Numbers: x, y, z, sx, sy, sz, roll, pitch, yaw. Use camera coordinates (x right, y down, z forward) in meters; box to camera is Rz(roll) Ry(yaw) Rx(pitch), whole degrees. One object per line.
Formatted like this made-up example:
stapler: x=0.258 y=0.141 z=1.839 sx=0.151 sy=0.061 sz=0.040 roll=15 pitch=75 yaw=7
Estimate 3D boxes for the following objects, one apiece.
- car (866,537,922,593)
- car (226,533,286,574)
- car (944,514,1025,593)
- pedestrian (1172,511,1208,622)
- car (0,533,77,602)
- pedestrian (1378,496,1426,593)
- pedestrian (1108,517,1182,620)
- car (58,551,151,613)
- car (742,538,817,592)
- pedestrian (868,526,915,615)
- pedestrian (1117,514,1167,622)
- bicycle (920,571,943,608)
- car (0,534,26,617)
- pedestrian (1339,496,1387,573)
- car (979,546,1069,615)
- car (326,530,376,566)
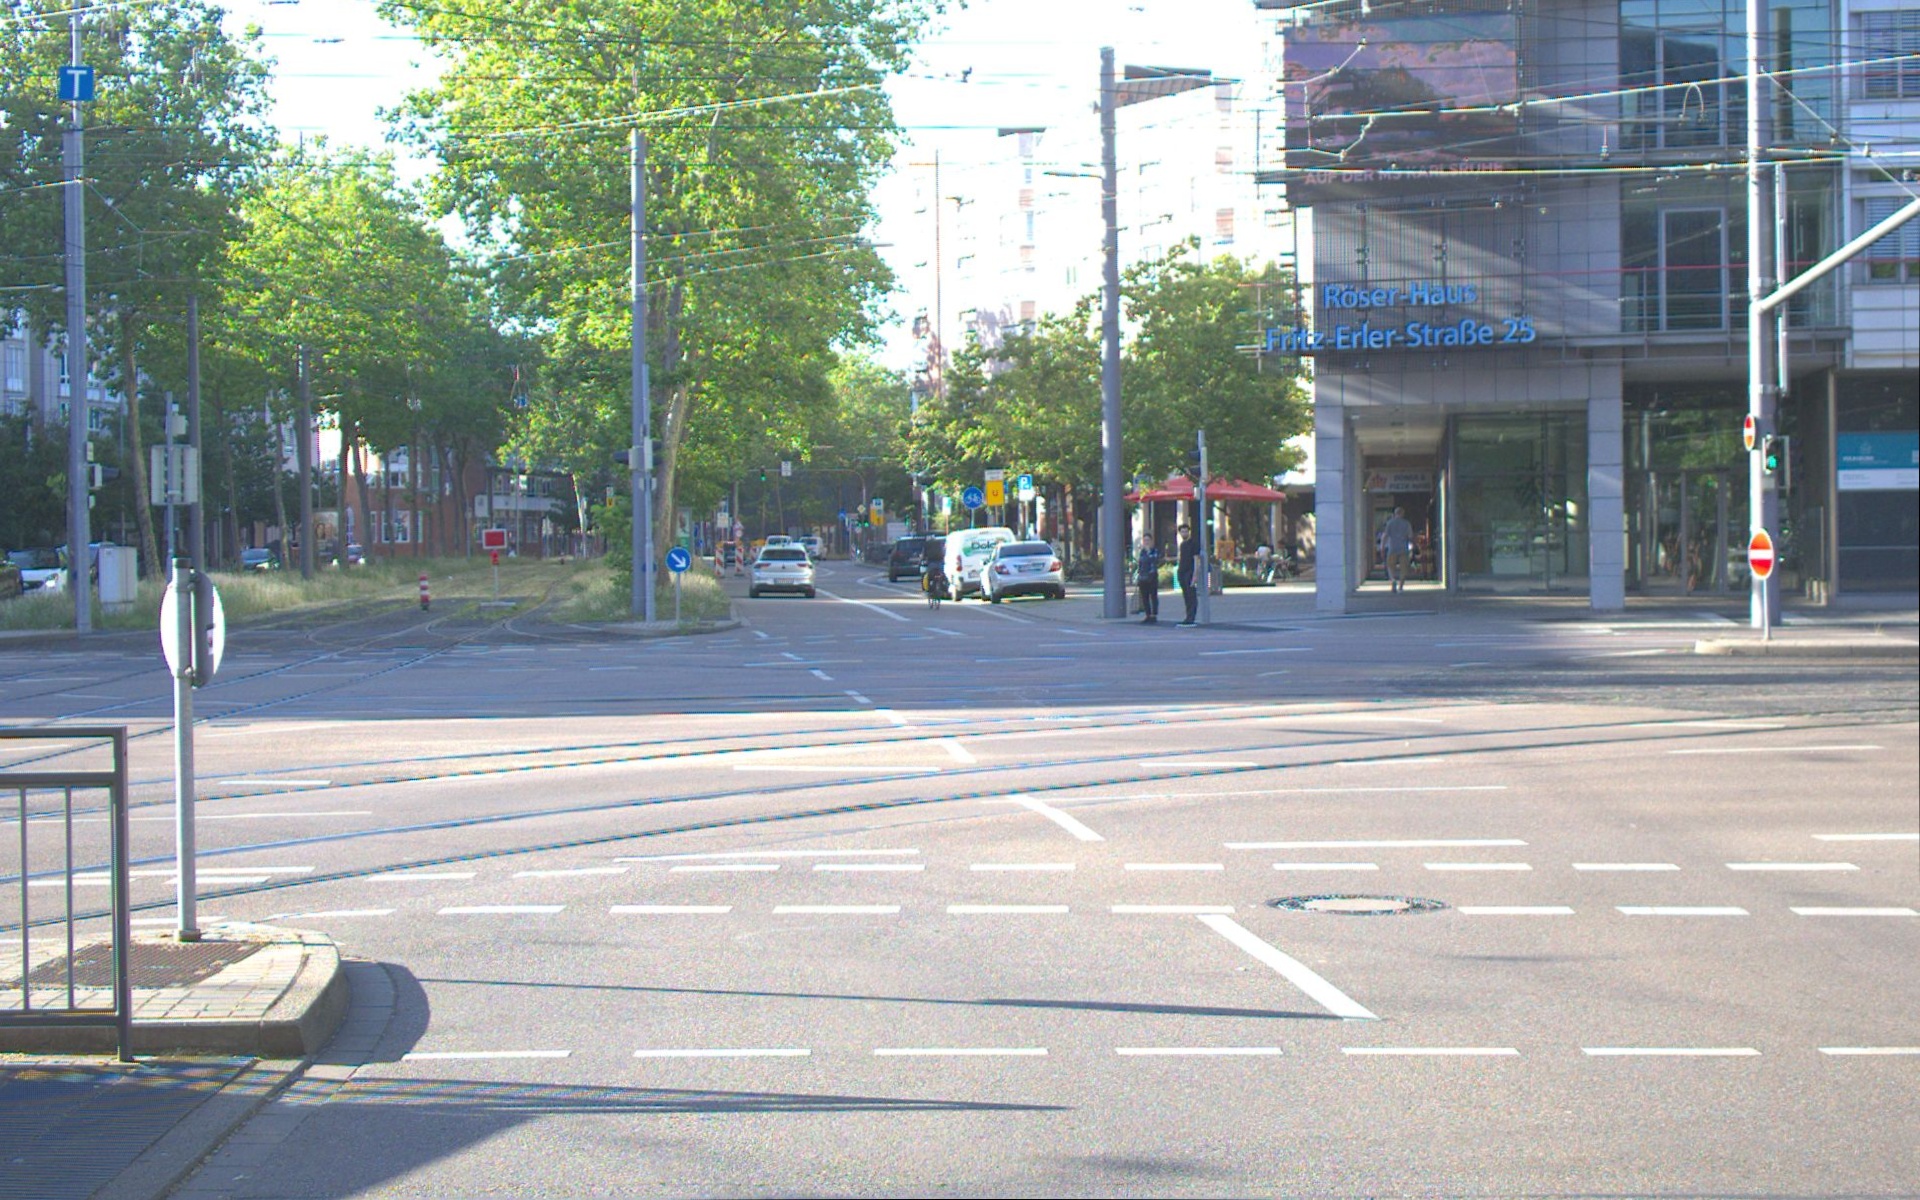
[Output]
car: x=-2.417 y=-1.282 z=126.673 sx=1.993 sy=2.007 sz=4.000 roll=1 pitch=1 yaw=-1
car: x=-31.647 y=-2.114 z=154.596 sx=1.910 sy=1.777 sz=4.000 roll=-1 pitch=1 yaw=-1
car: x=0.617 y=-1.206 z=89.637 sx=1.993 sy=2.007 sz=4.000 roll=1 pitch=1 yaw=-1
pedestrian: x=4.192 y=-0.616 z=62.677 sx=0.586 sy=2.007 sz=0.620 roll=1 pitch=0 yaw=0
car: x=-22.380 y=-0.781 z=82.653 sx=1.676 sy=1.601 sz=4.001 roll=1 pitch=1 yaw=-6
pedestrian: x=9.205 y=-1.150 z=71.574 sx=0.869 sy=2.007 sz=0.794 roll=1 pitch=-1 yaw=-1
pedestrian: x=3.536 y=-0.599 z=65.807 sx=1.342 sy=1.944 sz=1.011 roll=-1 pitch=0 yaw=-1
car: x=-29.108 y=-0.643 z=117.067 sx=1.876 sy=2.007 sz=4.471 roll=-1 pitch=1 yaw=2
car: x=-4.881 y=-0.971 z=93.456 sx=1.748 sy=1.413 sz=4.000 roll=0 pitch=1 yaw=1
pedestrian: x=-1.314 y=-0.570 z=66.278 sx=0.869 sy=1.702 sz=0.794 roll=1 pitch=0 yaw=-1
pedestrian: x=3.405 y=-0.599 z=64.307 sx=0.849 sy=2.007 sz=0.708 roll=1 pitch=0 yaw=-2
bicycle: x=-0.633 y=-0.237 z=74.999 sx=0.490 sy=0.785 sz=1.862 roll=0 pitch=1 yaw=-1
car: x=-21.616 y=-0.534 z=74.917 sx=1.822 sy=1.784 sz=4.001 roll=-1 pitch=1 yaw=-7
pedestrian: x=11.659 y=-1.886 z=99.543 sx=1.313 sy=2.182 sz=1.170 roll=1 pitch=0 yaw=6
car: x=1.506 y=-0.474 z=82.827 sx=2.029 sy=1.590 sz=4.000 roll=1 pitch=1 yaw=-1
car: x=-30.611 y=-2.630 z=172.939 sx=1.844 sy=1.777 sz=4.000 roll=-1 pitch=1 yaw=-1
